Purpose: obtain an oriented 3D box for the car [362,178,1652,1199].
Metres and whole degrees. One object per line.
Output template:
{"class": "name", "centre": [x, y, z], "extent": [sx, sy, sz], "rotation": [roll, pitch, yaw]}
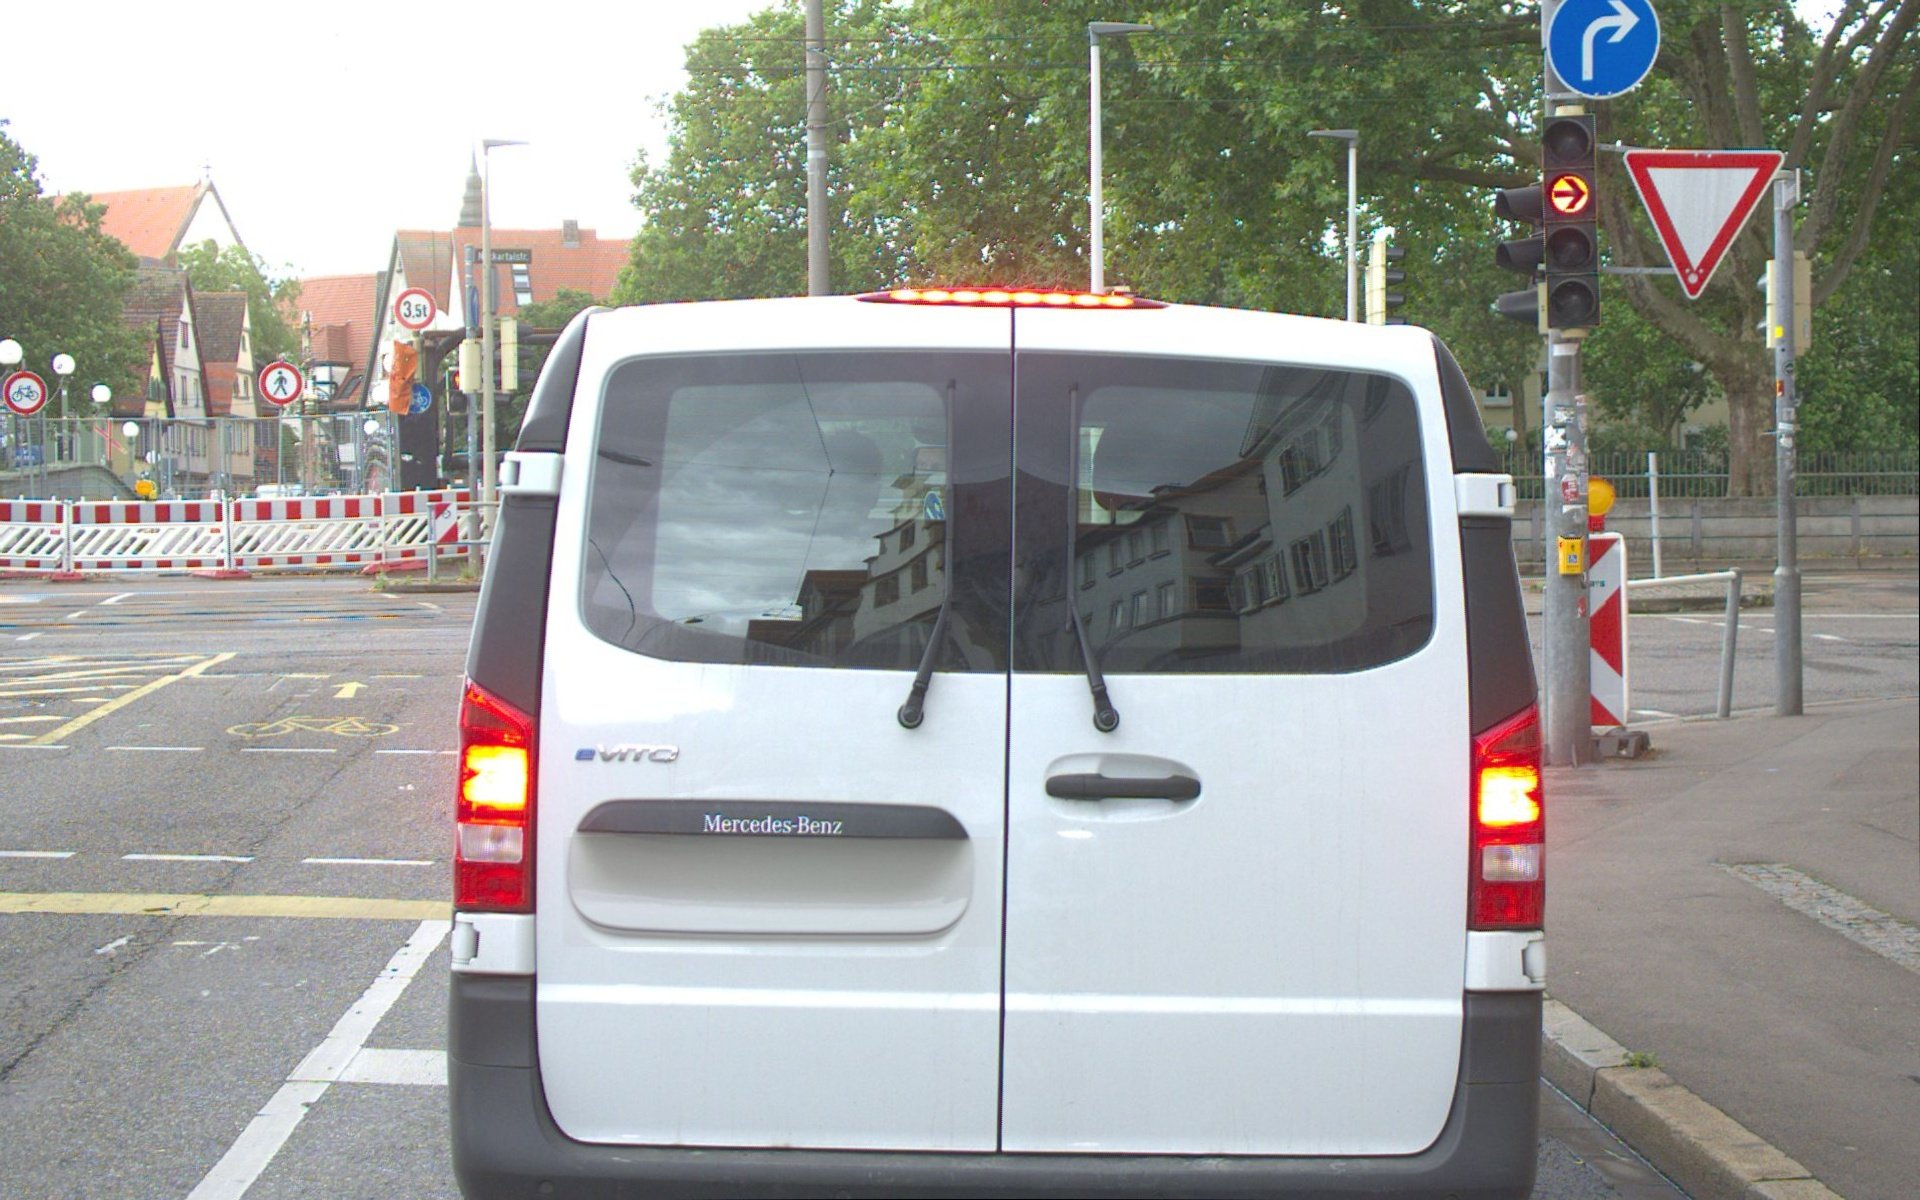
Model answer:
{"class": "car", "centre": [0.039, 0.276, 7.613], "extent": [1.951, 2.006, 4.699], "rotation": [1, 2, -1]}
